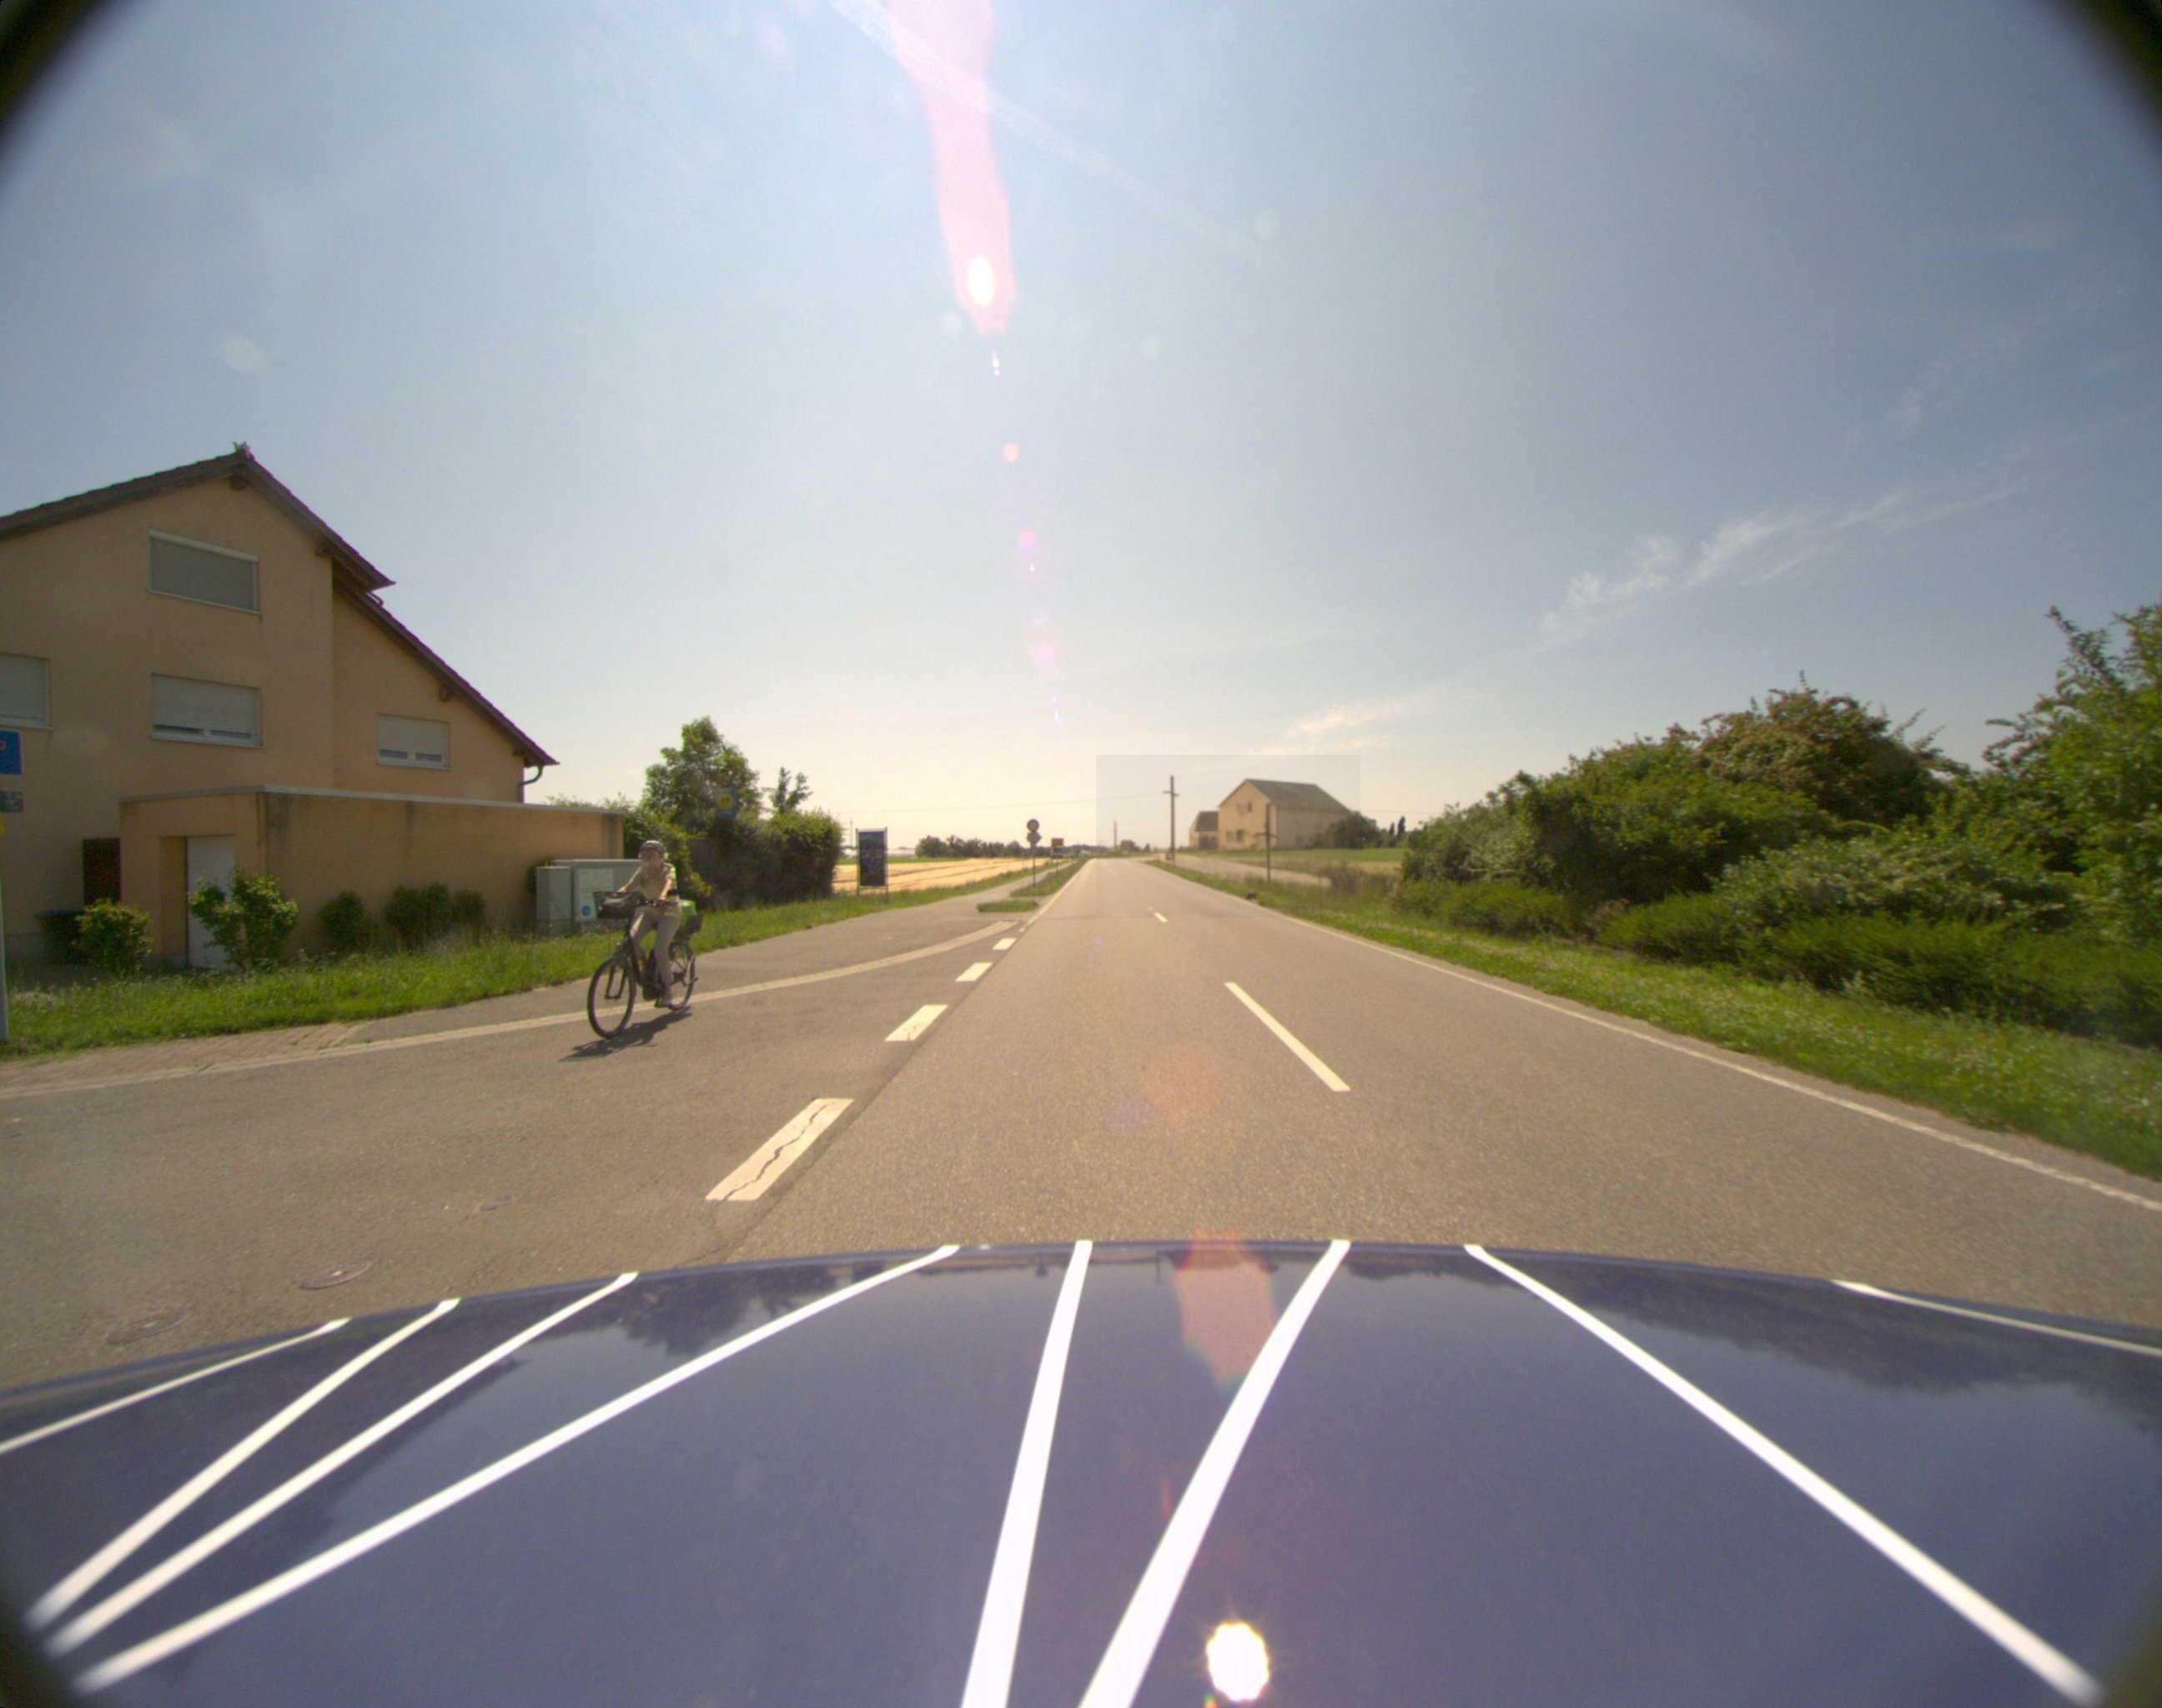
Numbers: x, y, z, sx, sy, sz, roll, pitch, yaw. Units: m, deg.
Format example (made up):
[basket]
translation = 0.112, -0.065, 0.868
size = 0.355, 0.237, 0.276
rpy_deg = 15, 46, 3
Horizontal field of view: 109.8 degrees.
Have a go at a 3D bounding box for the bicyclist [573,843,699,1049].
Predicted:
[bicyclist]
translation = -4.283, 0.842, 7.379
size = 0.646, 1.879, 0.860
rpy_deg = -1, 2, 1

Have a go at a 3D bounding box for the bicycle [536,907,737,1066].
[bicycle]
translation = -4.272, 1.202, 7.564
size = 0.612, 1.152, 2.273
rpy_deg = 0, 1, 1

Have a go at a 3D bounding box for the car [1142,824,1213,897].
[car]
translation = 3.624, 0.234, 29.687
size = 2.082, 2.527, 5.873
rpy_deg = 1, 0, 1
